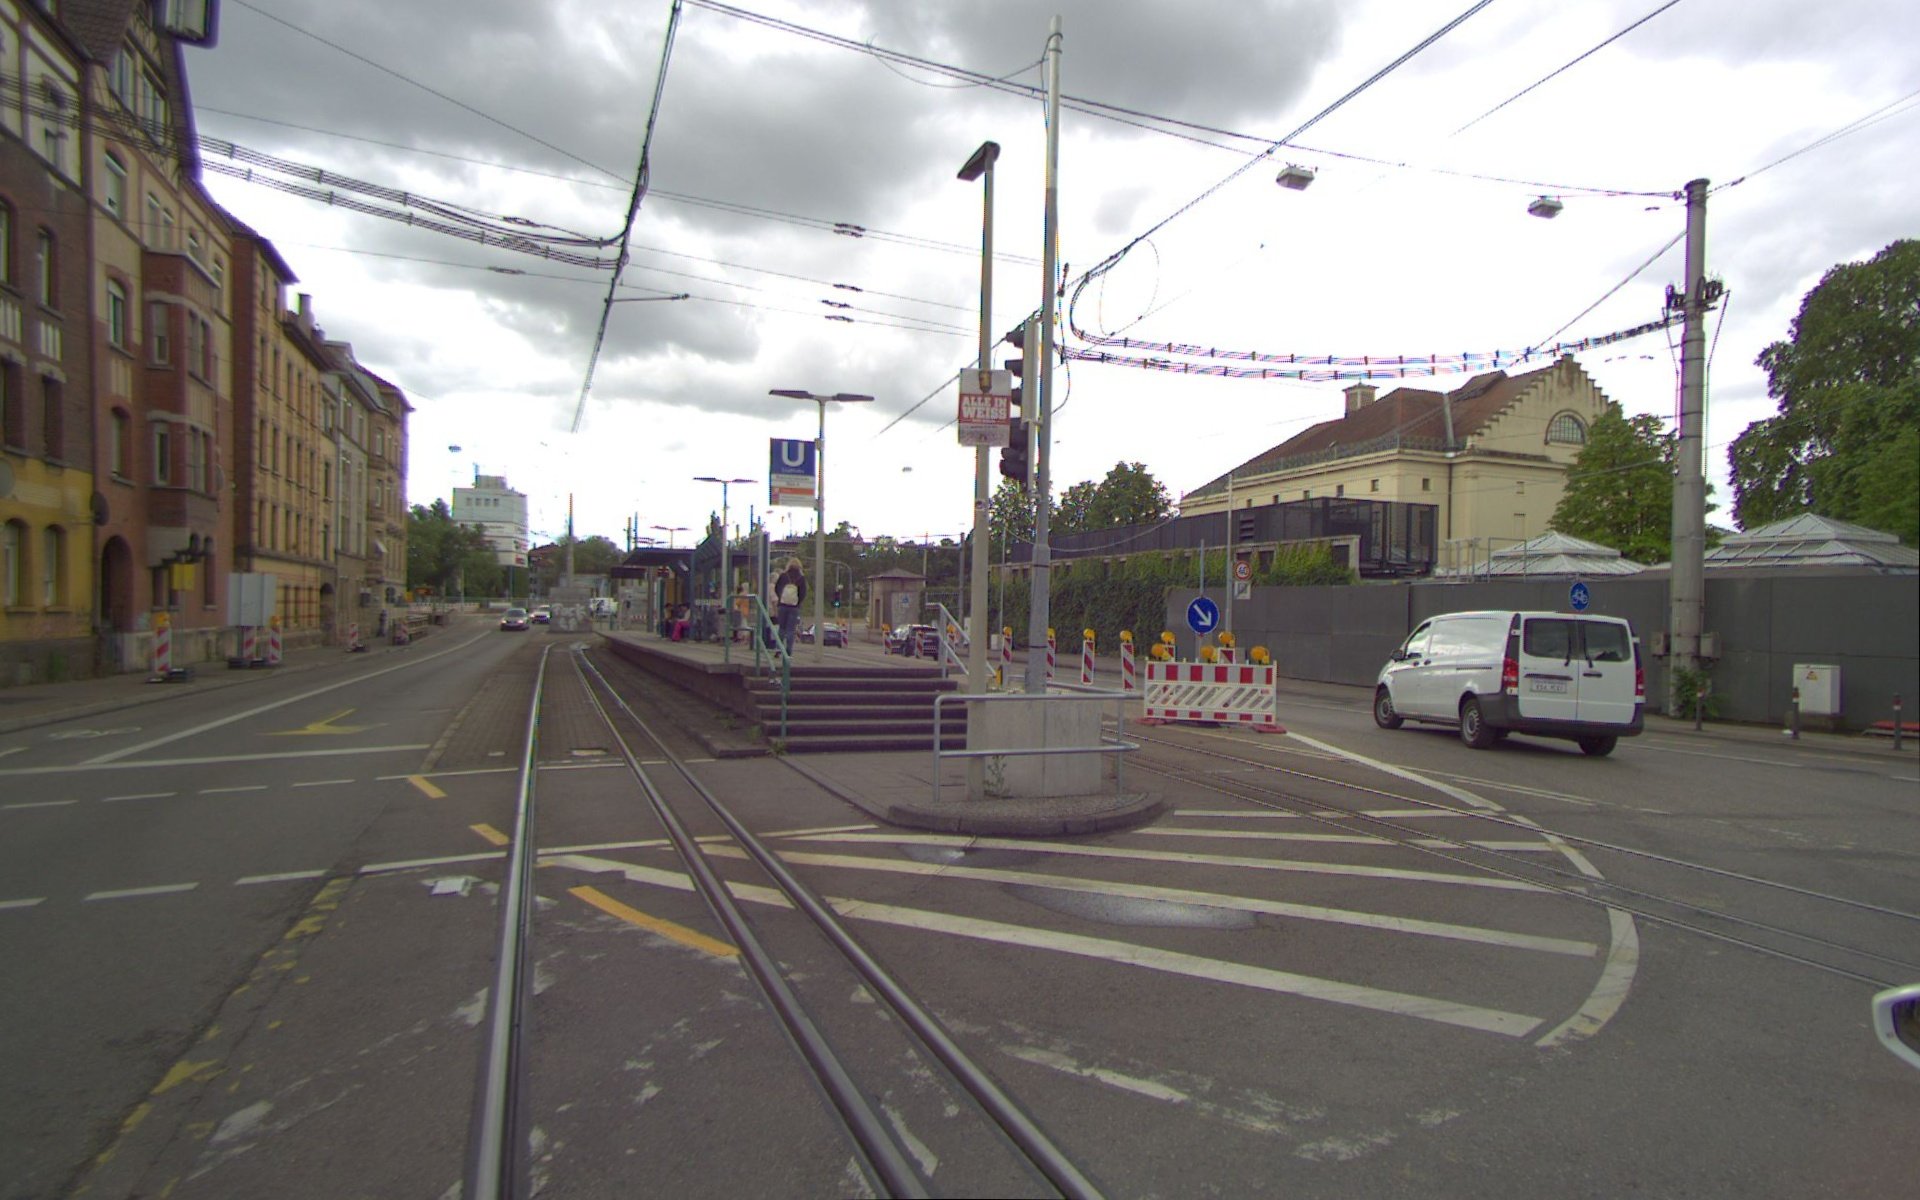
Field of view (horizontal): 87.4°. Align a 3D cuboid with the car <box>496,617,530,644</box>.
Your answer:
[{"bbox_3d":[-33.676,2.307,75.727,1.970,1.684,3.981,2,2,-20],"label":"car"}]

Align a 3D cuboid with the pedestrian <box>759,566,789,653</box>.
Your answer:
[{"bbox_3d":[-3.779,0.203,20.440,0.452,1.722,0.595,1,-1,-24],"label":"pedestrian"}]

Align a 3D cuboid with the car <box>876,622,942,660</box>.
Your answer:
[{"bbox_3d":[-2.364,1.820,45.455,1.732,1.572,3.978,2,-1,-23],"label":"car"}]

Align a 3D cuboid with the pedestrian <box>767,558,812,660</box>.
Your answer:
[{"bbox_3d":[-2.770,0.157,16.350,0.590,1.631,0.523,1,-1,-24],"label":"pedestrian"}]

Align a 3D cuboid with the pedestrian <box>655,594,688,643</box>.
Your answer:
[{"bbox_3d":[-8.552,0.541,29.738,0.810,1.391,0.930,2,0,-22],"label":"pedestrian"}]

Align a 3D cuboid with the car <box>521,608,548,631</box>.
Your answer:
[{"bbox_3d":[-36.398,1.652,86.047,1.971,1.684,3.978,2,2,-22],"label":"car"}]

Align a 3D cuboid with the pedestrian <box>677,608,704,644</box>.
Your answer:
[{"bbox_3d":[-7.585,0.735,28.244,0.654,0.992,0.511,1,-2,-24],"label":"pedestrian"}]

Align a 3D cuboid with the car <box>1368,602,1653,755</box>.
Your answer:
[{"bbox_3d":[7.967,1.146,15.158,1.885,1.926,4.705,1,-4,3],"label":"car"}]

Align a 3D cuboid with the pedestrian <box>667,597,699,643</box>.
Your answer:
[{"bbox_3d":[-7.990,0.582,28.971,0.798,1.286,0.769,2,0,-22],"label":"pedestrian"}]

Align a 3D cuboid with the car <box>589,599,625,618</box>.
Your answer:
[{"bbox_3d":[-35.241,0.832,100.379,1.960,1.684,4.000,3,2,3],"label":"car"}]

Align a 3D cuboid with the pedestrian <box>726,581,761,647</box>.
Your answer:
[{"bbox_3d":[-5.645,0.378,26.187,0.768,1.699,0.538,1,-2,-24],"label":"pedestrian"}]

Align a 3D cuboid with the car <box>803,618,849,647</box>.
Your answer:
[{"bbox_3d":[-7.937,1.917,59.370,1.732,1.572,3.979,2,-1,-22],"label":"car"}]

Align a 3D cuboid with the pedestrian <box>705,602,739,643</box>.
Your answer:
[{"bbox_3d":[-6.782,0.629,28.619,0.810,1.138,0.648,2,0,-22],"label":"pedestrian"}]
